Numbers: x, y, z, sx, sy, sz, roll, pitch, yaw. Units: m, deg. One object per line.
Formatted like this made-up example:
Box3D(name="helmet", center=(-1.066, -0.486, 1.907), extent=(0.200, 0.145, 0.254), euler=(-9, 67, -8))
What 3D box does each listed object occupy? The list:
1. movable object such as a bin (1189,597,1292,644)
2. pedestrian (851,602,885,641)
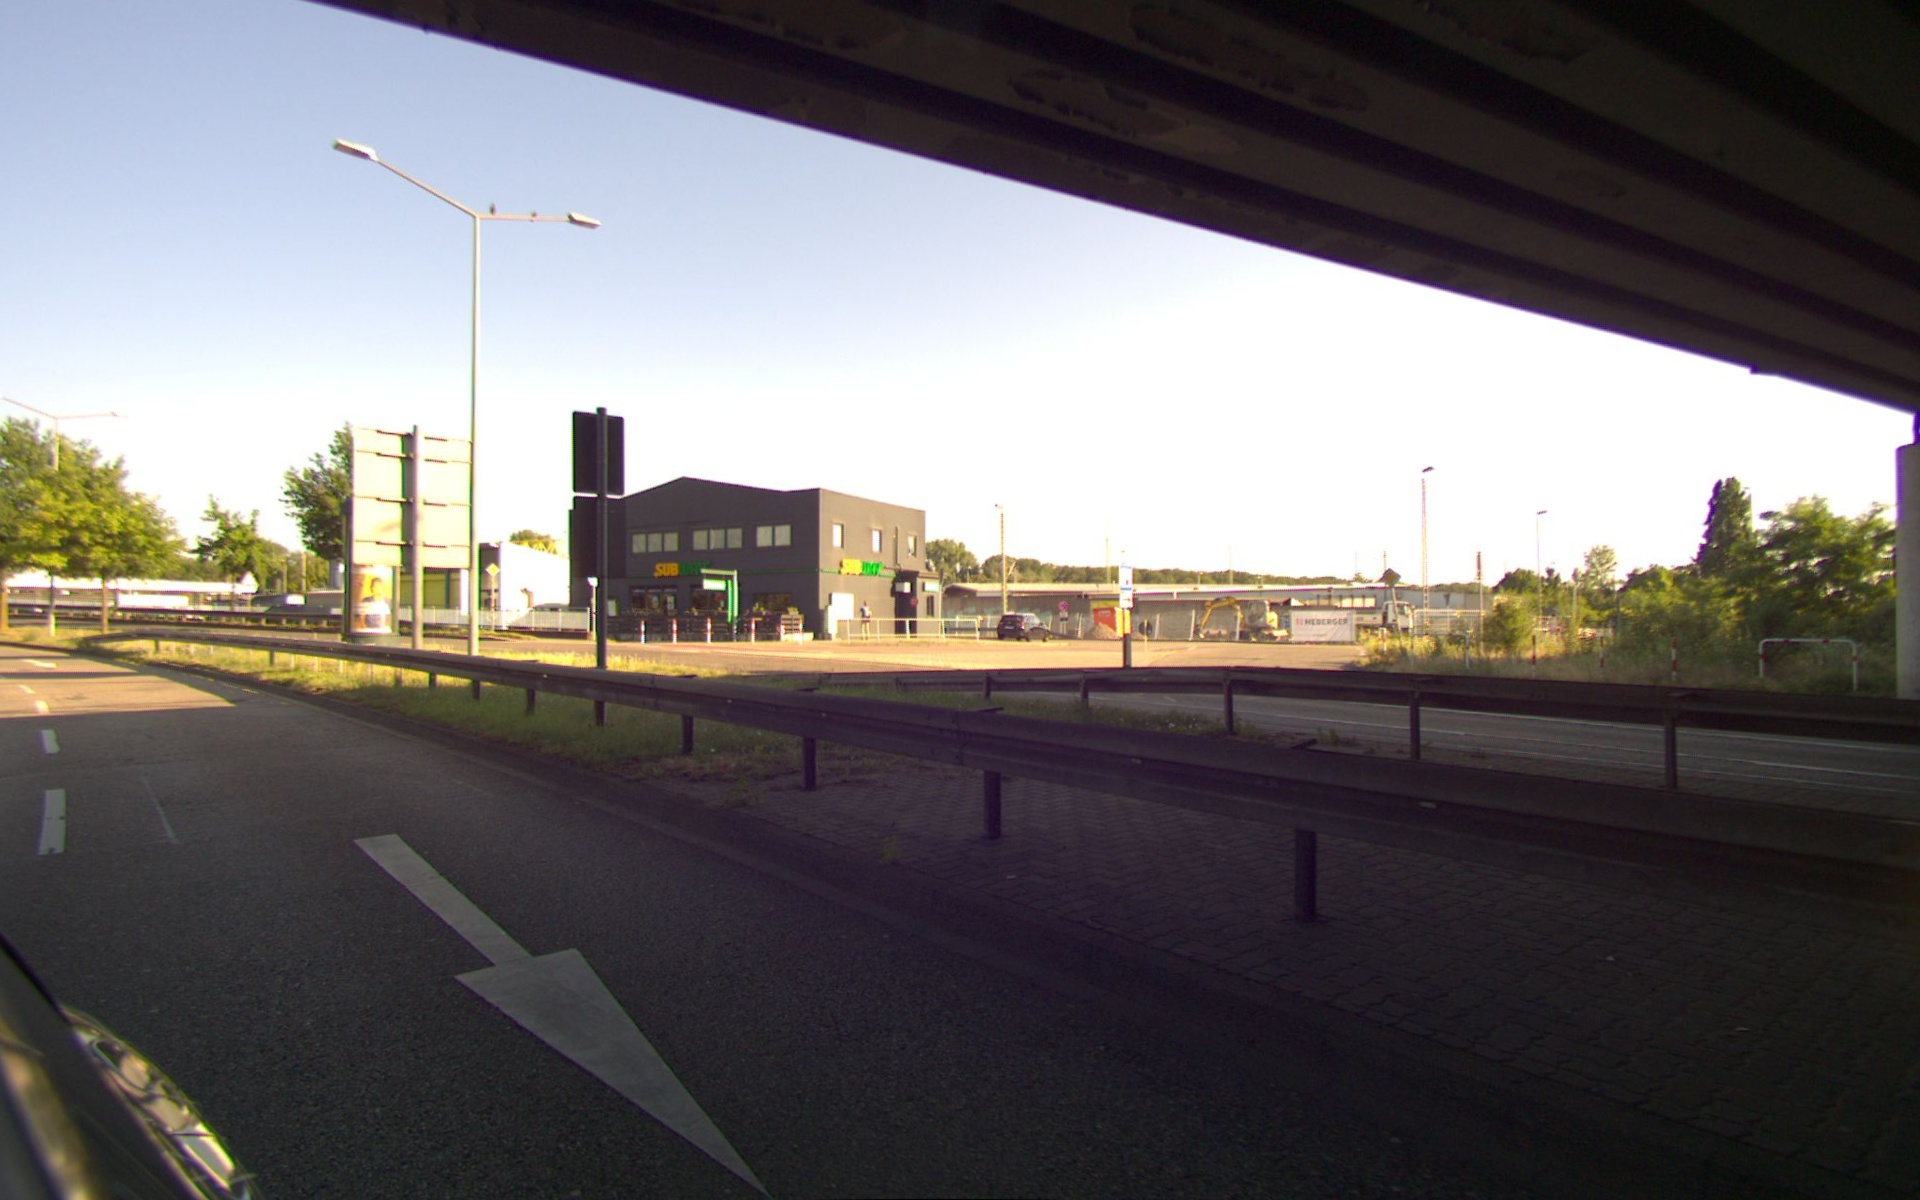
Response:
Box3D(name="movable object such as a bin", center=(19.826, 1.428, 71.651), extent=(6.602, 3.241, 2.422), euler=(-1, 0, 30))
Box3D(name="pedestrian", center=(-4.481, 1.059, 49.336), extent=(1.256, 1.849, 1.086), euler=(-1, 0, -42))
